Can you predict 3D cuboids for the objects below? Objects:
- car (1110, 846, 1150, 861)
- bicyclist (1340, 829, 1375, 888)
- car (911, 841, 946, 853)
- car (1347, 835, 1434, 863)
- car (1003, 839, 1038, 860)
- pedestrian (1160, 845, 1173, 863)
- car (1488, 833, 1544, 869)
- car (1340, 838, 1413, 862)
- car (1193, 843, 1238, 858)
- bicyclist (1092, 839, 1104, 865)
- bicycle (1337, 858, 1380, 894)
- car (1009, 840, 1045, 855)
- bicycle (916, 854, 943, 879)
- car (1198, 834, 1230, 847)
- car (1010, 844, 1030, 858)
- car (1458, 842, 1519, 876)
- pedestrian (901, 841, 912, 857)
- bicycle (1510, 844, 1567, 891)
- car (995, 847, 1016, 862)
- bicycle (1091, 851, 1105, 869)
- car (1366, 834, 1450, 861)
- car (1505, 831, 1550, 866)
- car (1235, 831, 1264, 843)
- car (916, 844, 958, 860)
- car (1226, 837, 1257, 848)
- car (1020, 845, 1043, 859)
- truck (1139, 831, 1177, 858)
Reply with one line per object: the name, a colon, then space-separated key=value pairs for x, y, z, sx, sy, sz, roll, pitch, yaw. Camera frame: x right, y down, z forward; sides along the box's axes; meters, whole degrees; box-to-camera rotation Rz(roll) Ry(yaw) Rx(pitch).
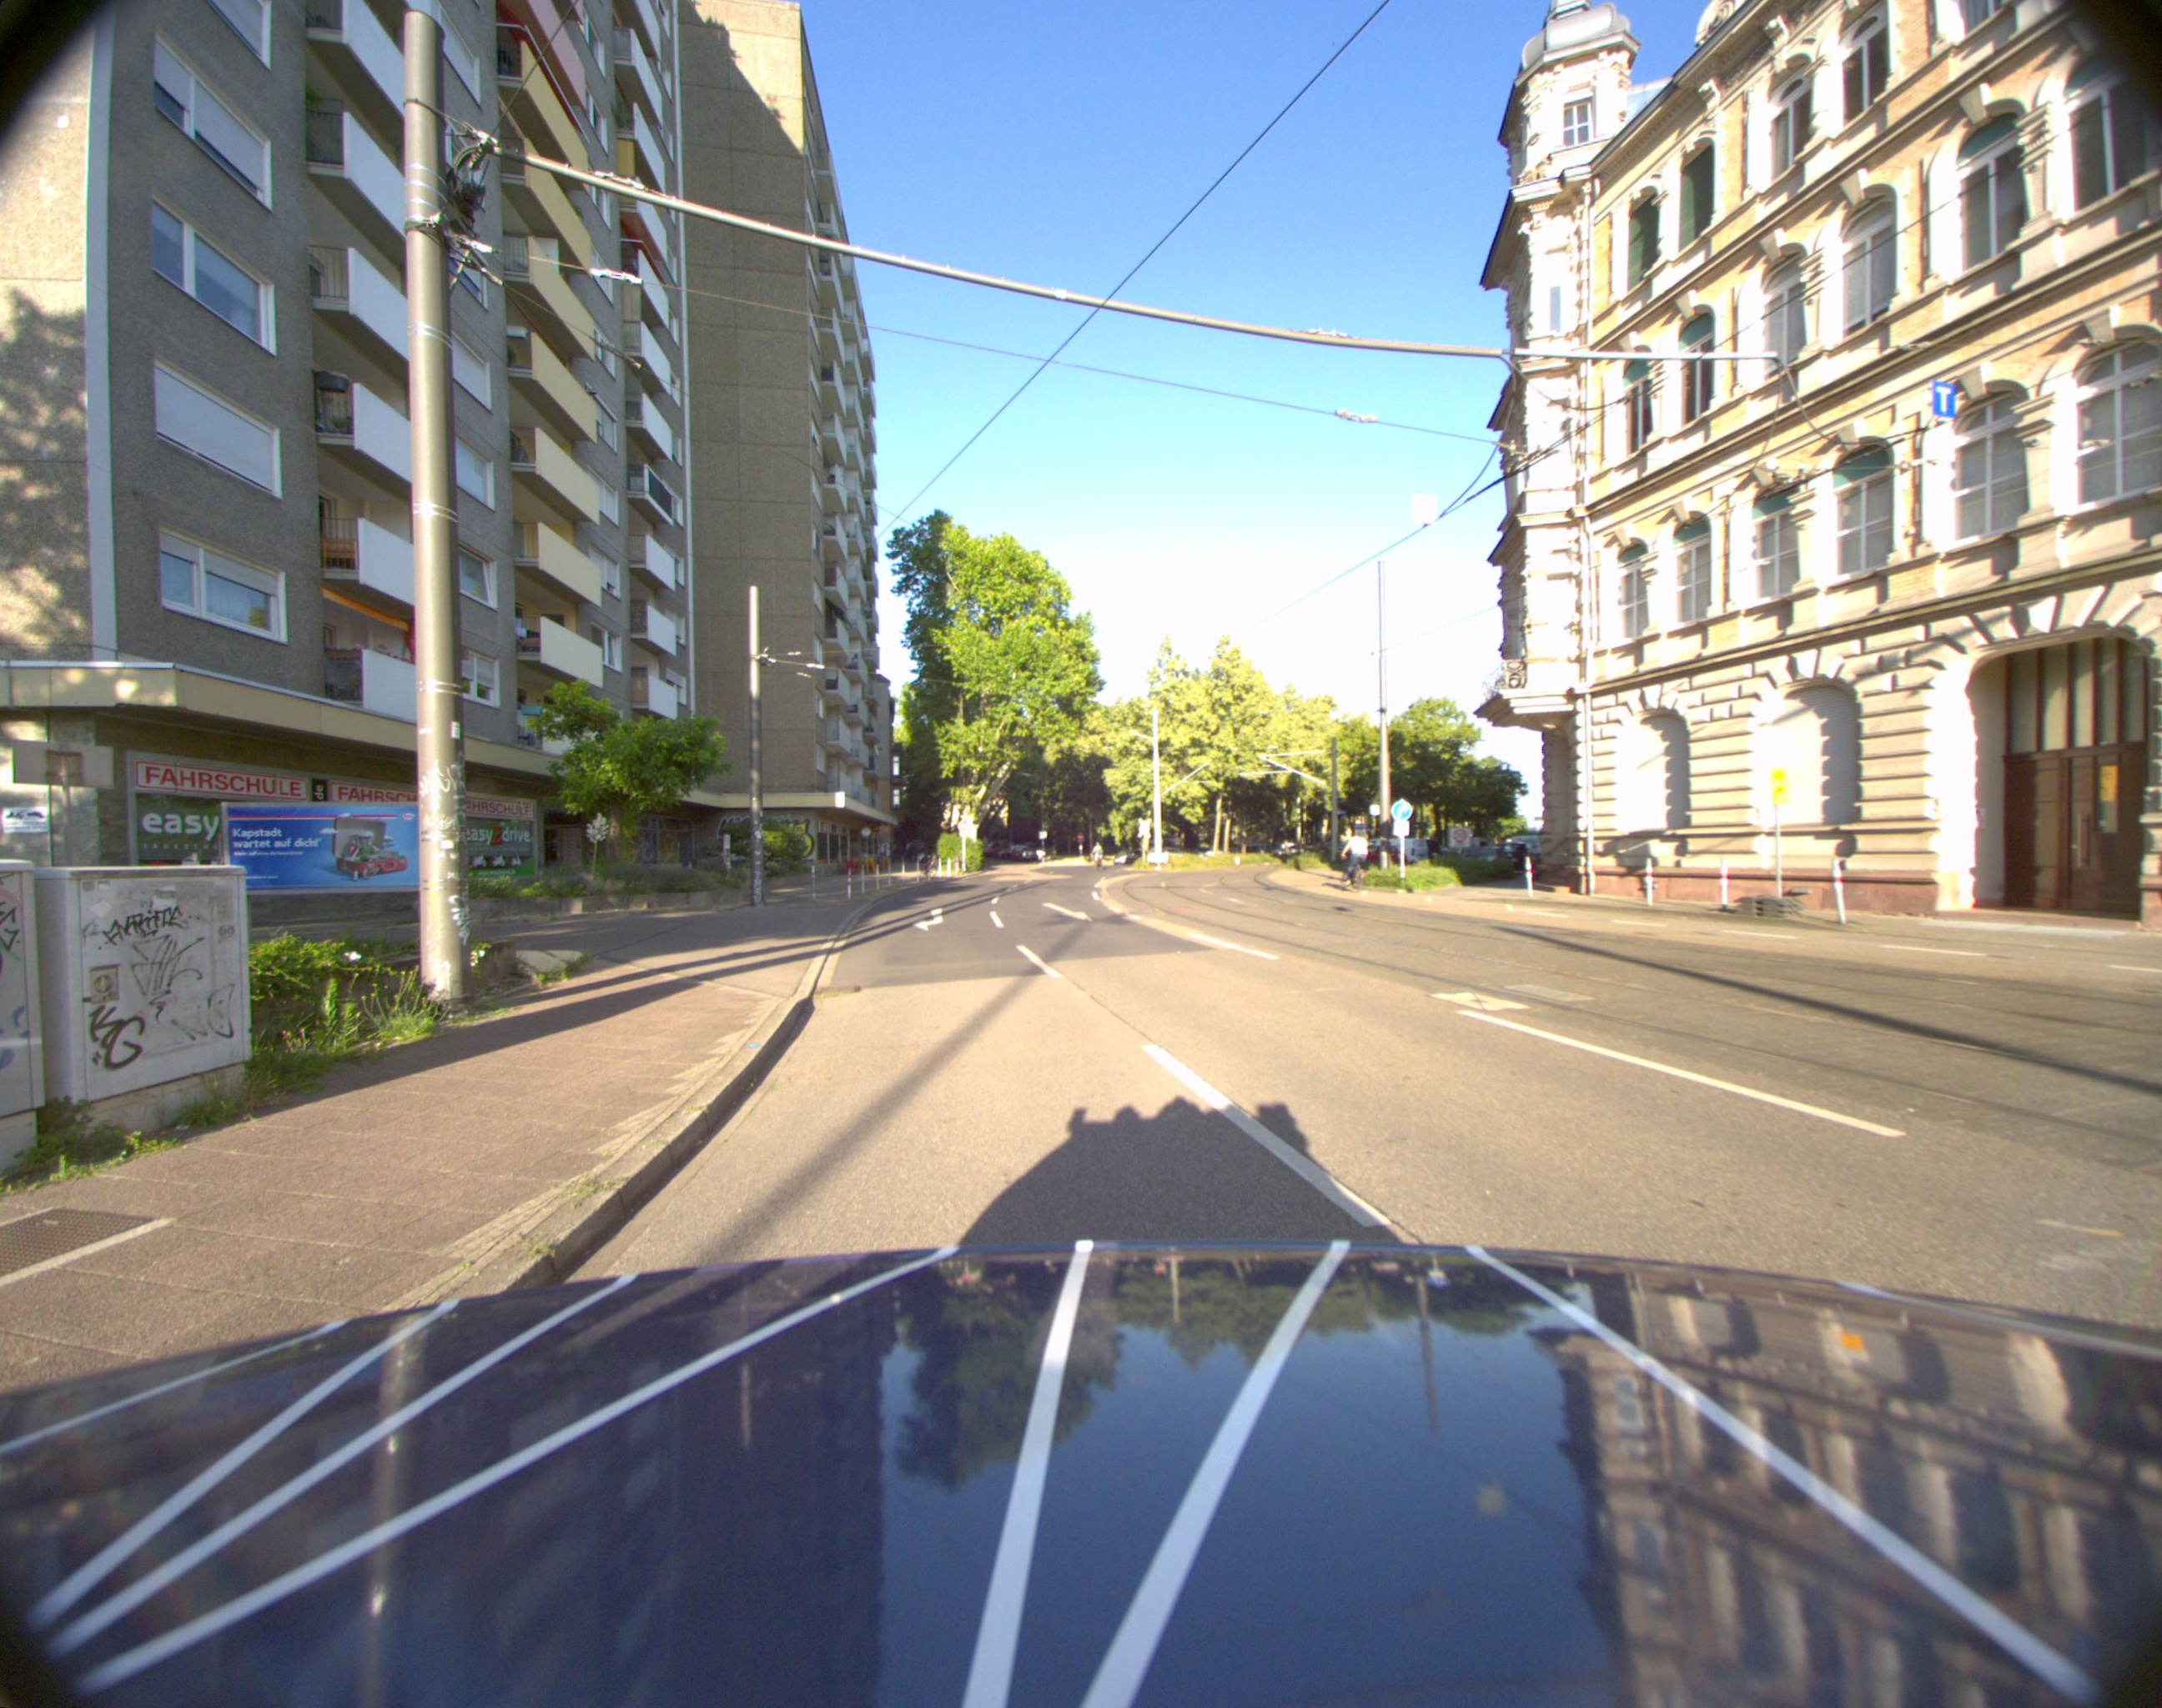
car: x=4.803 y=-0.101 z=74.343 sx=1.945 sy=1.390 sz=4.008 roll=0 pitch=1 yaw=38
bicyclist: x=8.711 y=0.140 z=23.974 sx=0.729 sy=1.830 sz=1.213 roll=-1 pitch=0 yaw=5
car: x=-18.879 y=-0.858 z=94.157 sx=4.003 sy=1.499 sz=1.883 roll=-1 pitch=1 yaw=-18
car: x=20.679 y=-0.359 z=50.983 sx=2.004 sy=1.778 sz=5.045 roll=-2 pitch=1 yaw=-38
car: x=-7.220 y=-0.569 z=91.046 sx=3.930 sy=2.392 sz=1.532 roll=-1 pitch=1 yaw=-18
pedestrian: x=8.179 y=0.005 z=72.561 sx=0.890 sy=1.758 sz=0.828 roll=-2 pitch=2 yaw=-39
car: x=21.391 y=-0.190 z=37.334 sx=1.733 sy=1.652 sz=4.008 roll=0 pitch=1 yaw=40
car: x=19.135 y=-0.270 z=49.287 sx=1.872 sy=1.499 sz=3.989 roll=-2 pitch=1 yaw=-38
car: x=12.044 y=-0.308 z=68.316 sx=1.744 sy=1.346 sz=3.678 roll=-2 pitch=1 yaw=-43
bicyclist: x=1.171 y=-0.118 z=52.271 sx=0.607 sy=1.753 sz=1.059 roll=-1 pitch=1 yaw=-10
bicycle: x=8.709 y=0.661 z=23.946 sx=0.728 sy=1.077 sz=2.117 roll=-1 pitch=0 yaw=4
car: x=-6.295 y=-0.781 z=88.929 sx=3.930 sy=1.751 sz=1.532 roll=-1 pitch=1 yaw=-18
bicycle: x=-7.259 y=0.592 z=36.440 sx=0.609 sy=1.128 sz=2.281 roll=-1 pitch=1 yaw=6
car: x=18.865 y=-1.942 z=108.280 sx=2.003 sy=1.740 sz=4.432 roll=-1 pitch=1 yaw=-33
car: x=-6.772 y=-0.333 z=83.867 sx=1.536 sy=1.440 sz=3.921 roll=-1 pitch=1 yaw=-15
car: x=18.227 y=0.197 z=33.931 sx=1.733 sy=1.406 sz=3.441 roll=0 pitch=1 yaw=40
pedestrian: x=-22.399 y=-0.615 z=97.619 sx=1.214 sy=2.002 sz=1.205 roll=-1 pitch=1 yaw=-16
bicycle: x=13.251 y=0.357 z=21.964 sx=2.693 sy=1.259 sz=0.643 roll=-2 pitch=1 yaw=-42
car: x=-9.716 y=0.012 z=97.429 sx=1.773 sy=1.846 sz=4.221 roll=-1 pitch=1 yaw=-18
bicycle: x=1.179 y=0.384 z=52.297 sx=0.611 sy=1.168 sz=1.950 roll=-1 pitch=1 yaw=-10
car: x=22.938 y=-0.470 z=53.471 sx=2.004 sy=1.798 sz=5.045 roll=-2 pitch=1 yaw=-38
car: x=27.360 y=-0.357 z=46.495 sx=1.994 sy=2.002 sz=4.645 roll=0 pitch=1 yaw=35
car: x=26.304 y=-2.633 z=118.634 sx=1.889 sy=1.740 sz=3.989 roll=-2 pitch=1 yaw=-40
car: x=-14.732 y=-0.197 z=77.519 sx=4.003 sy=1.499 sz=1.883 roll=-1 pitch=1 yaw=-18
car: x=24.540 y=-1.793 z=116.393 sx=2.004 sy=1.696 sz=4.345 roll=-2 pitch=1 yaw=-39
car: x=-5.137 y=-0.204 z=78.661 sx=1.742 sy=1.440 sz=3.626 roll=-1 pitch=1 yaw=-15
truck: x=8.063 y=-1.001 z=78.792 sx=1.994 sy=2.767 sz=4.893 roll=0 pitch=1 yaw=31
